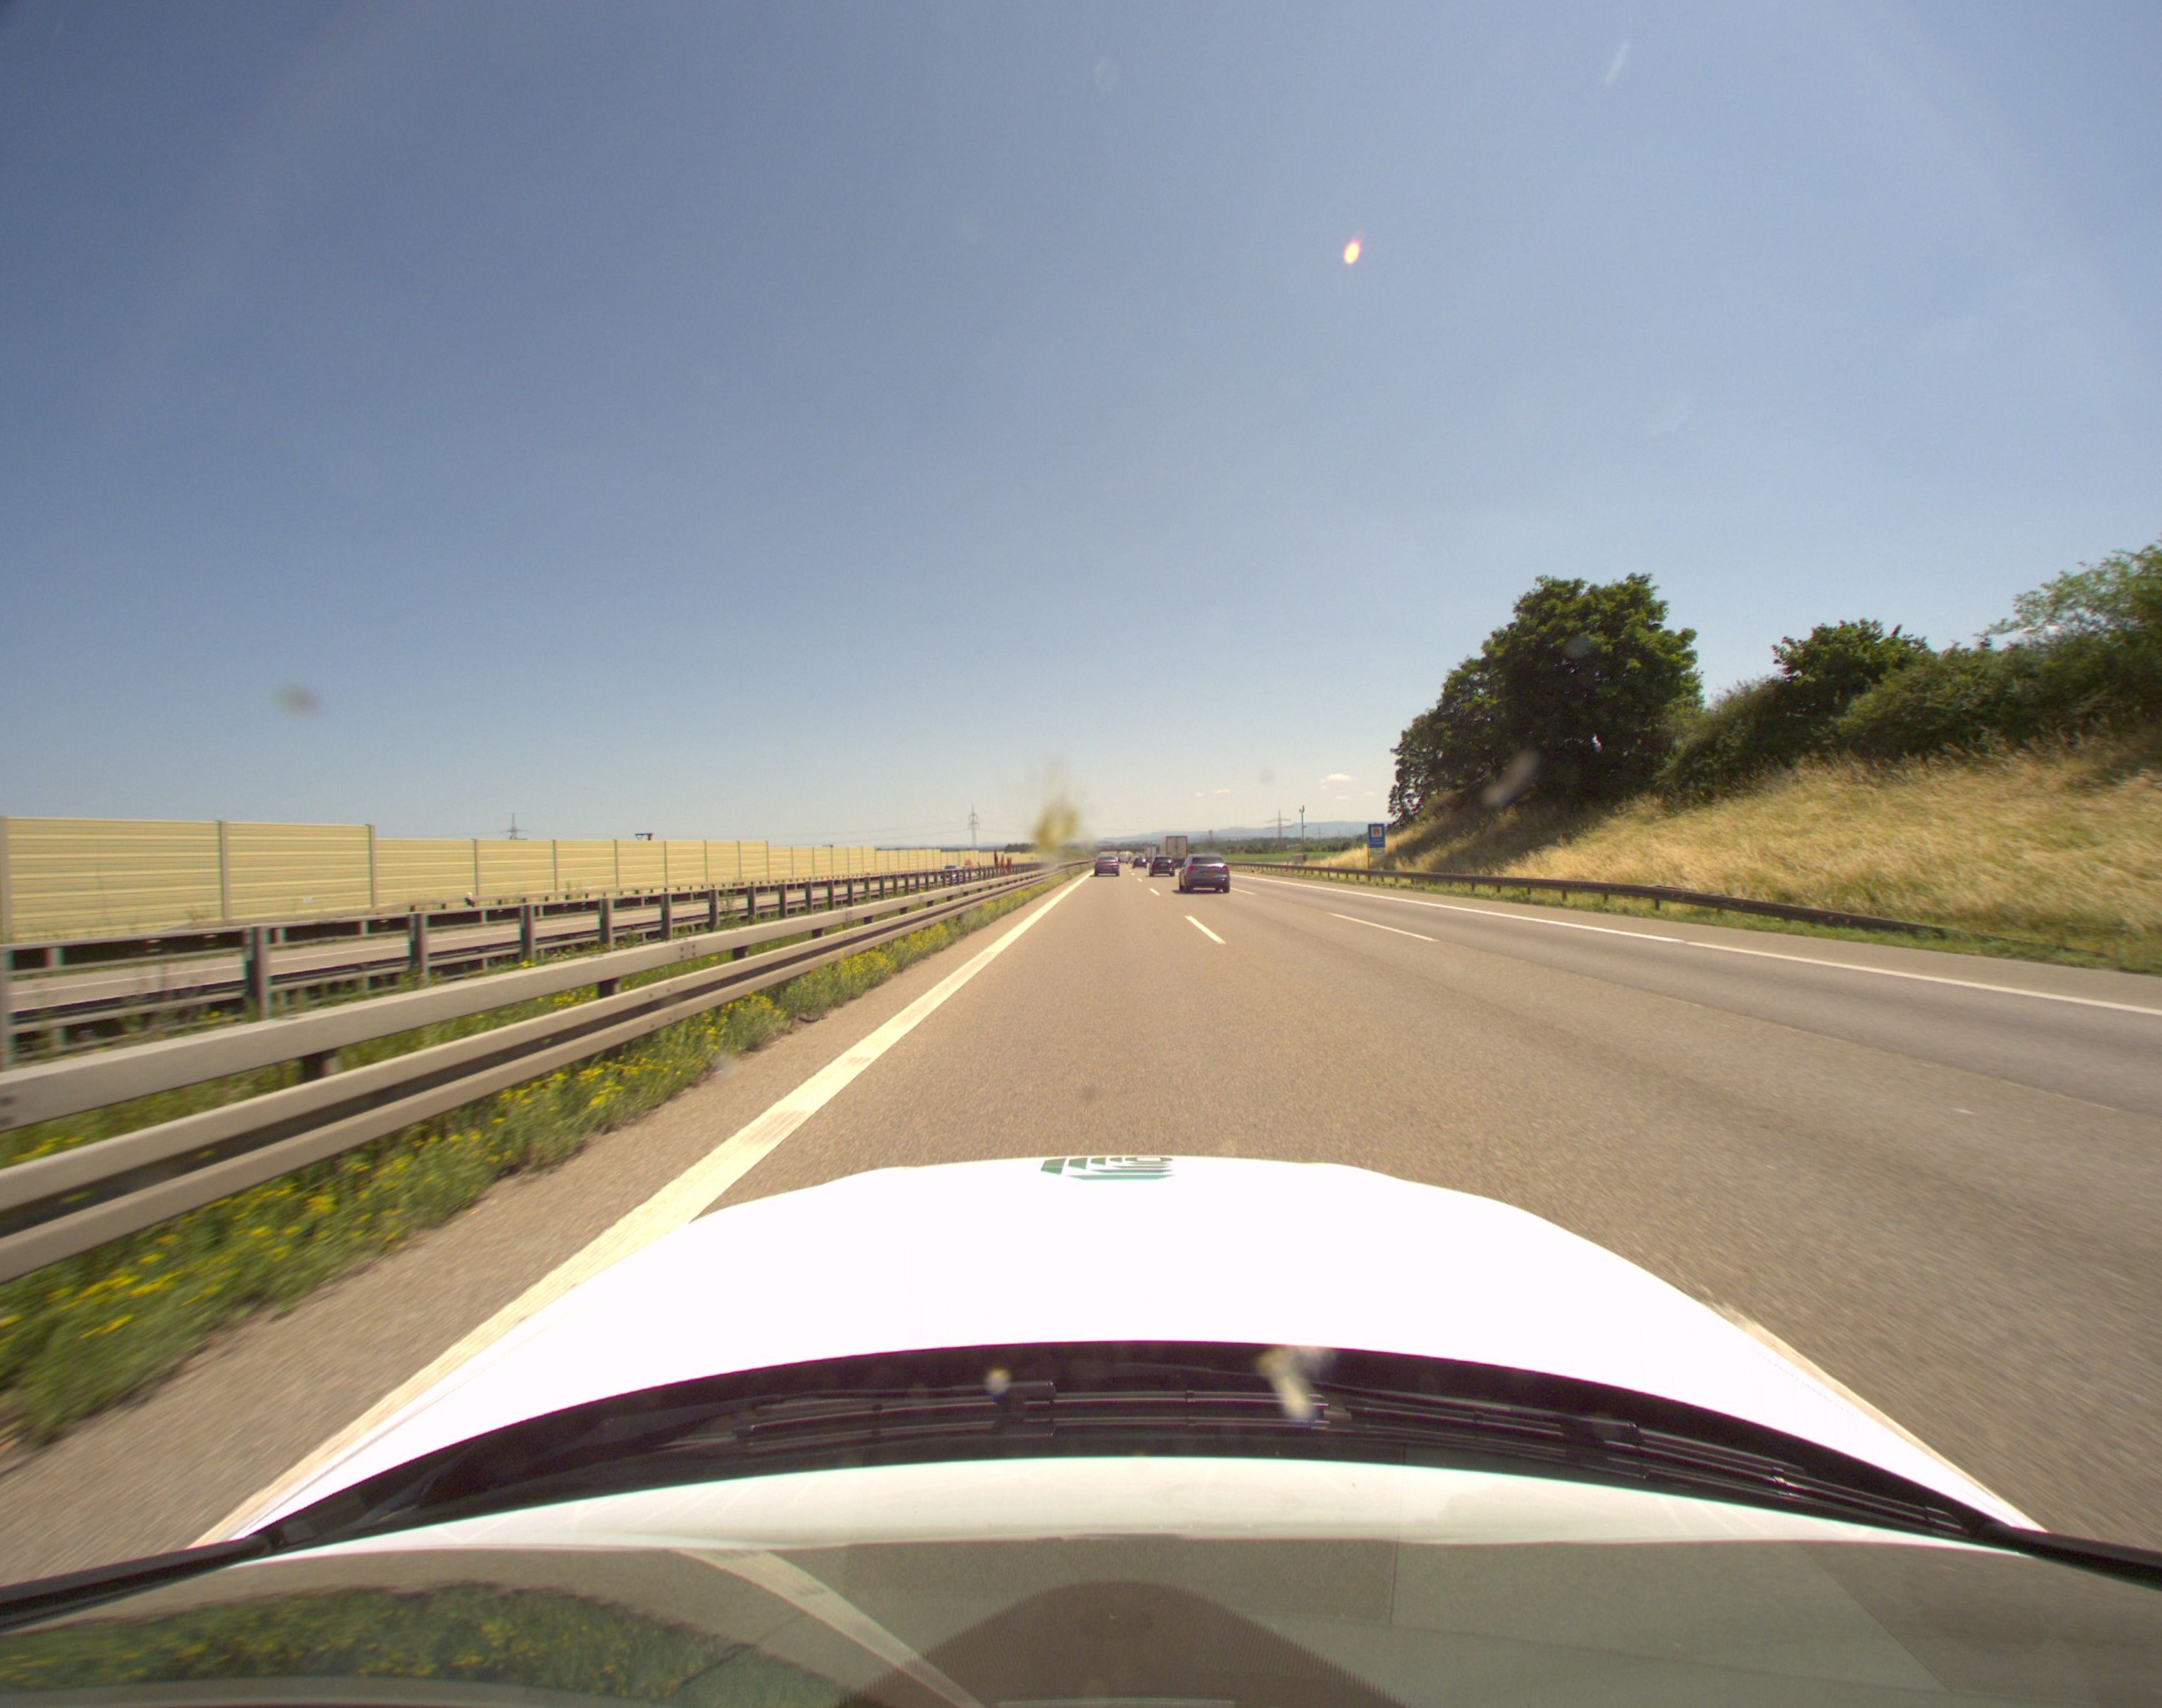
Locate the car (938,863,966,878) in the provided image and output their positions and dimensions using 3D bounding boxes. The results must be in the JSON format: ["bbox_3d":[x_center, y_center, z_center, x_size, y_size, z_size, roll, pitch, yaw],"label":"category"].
[{"bbox_3d":[-13.948,1.754,88.200,1.986,1.464,4.815,-2,0,2],"label":"car"}]

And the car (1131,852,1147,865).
[{"bbox_3d":[7.488,0.597,105.470,1.925,1.574,4.939,0,-1,4],"label":"car"}]

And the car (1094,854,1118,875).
[{"bbox_3d":[1.941,0.816,64.416,1.844,1.664,3.735,0,-1,1],"label":"car"}]

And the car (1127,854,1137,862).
[{"bbox_3d":[11.029,0.941,176.387,1.984,1.683,4.004,0,-1,4],"label":"car"}]

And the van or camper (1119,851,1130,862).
[{"bbox_3d":[8.761,0.517,165.170,2.101,2.211,5.271,0,-1,4],"label":"van or camper"}]

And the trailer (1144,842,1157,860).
[{"bbox_3d":[16.870,-0.655,198.241,2.930,4.198,13.611,0,-1,4],"label":"trailer"}]

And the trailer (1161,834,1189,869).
[{"bbox_3d":[12.126,-0.252,106.007,2.855,4.220,13.306,0,-1,4],"label":"trailer"}]

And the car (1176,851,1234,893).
[{"bbox_3d":[5.135,0.720,34.223,1.844,1.648,4.645,0,-1,1],"label":"car"}]

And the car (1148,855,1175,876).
[{"bbox_3d":[6.138,0.843,62.376,1.790,1.562,3.824,0,-1,1],"label":"car"}]
